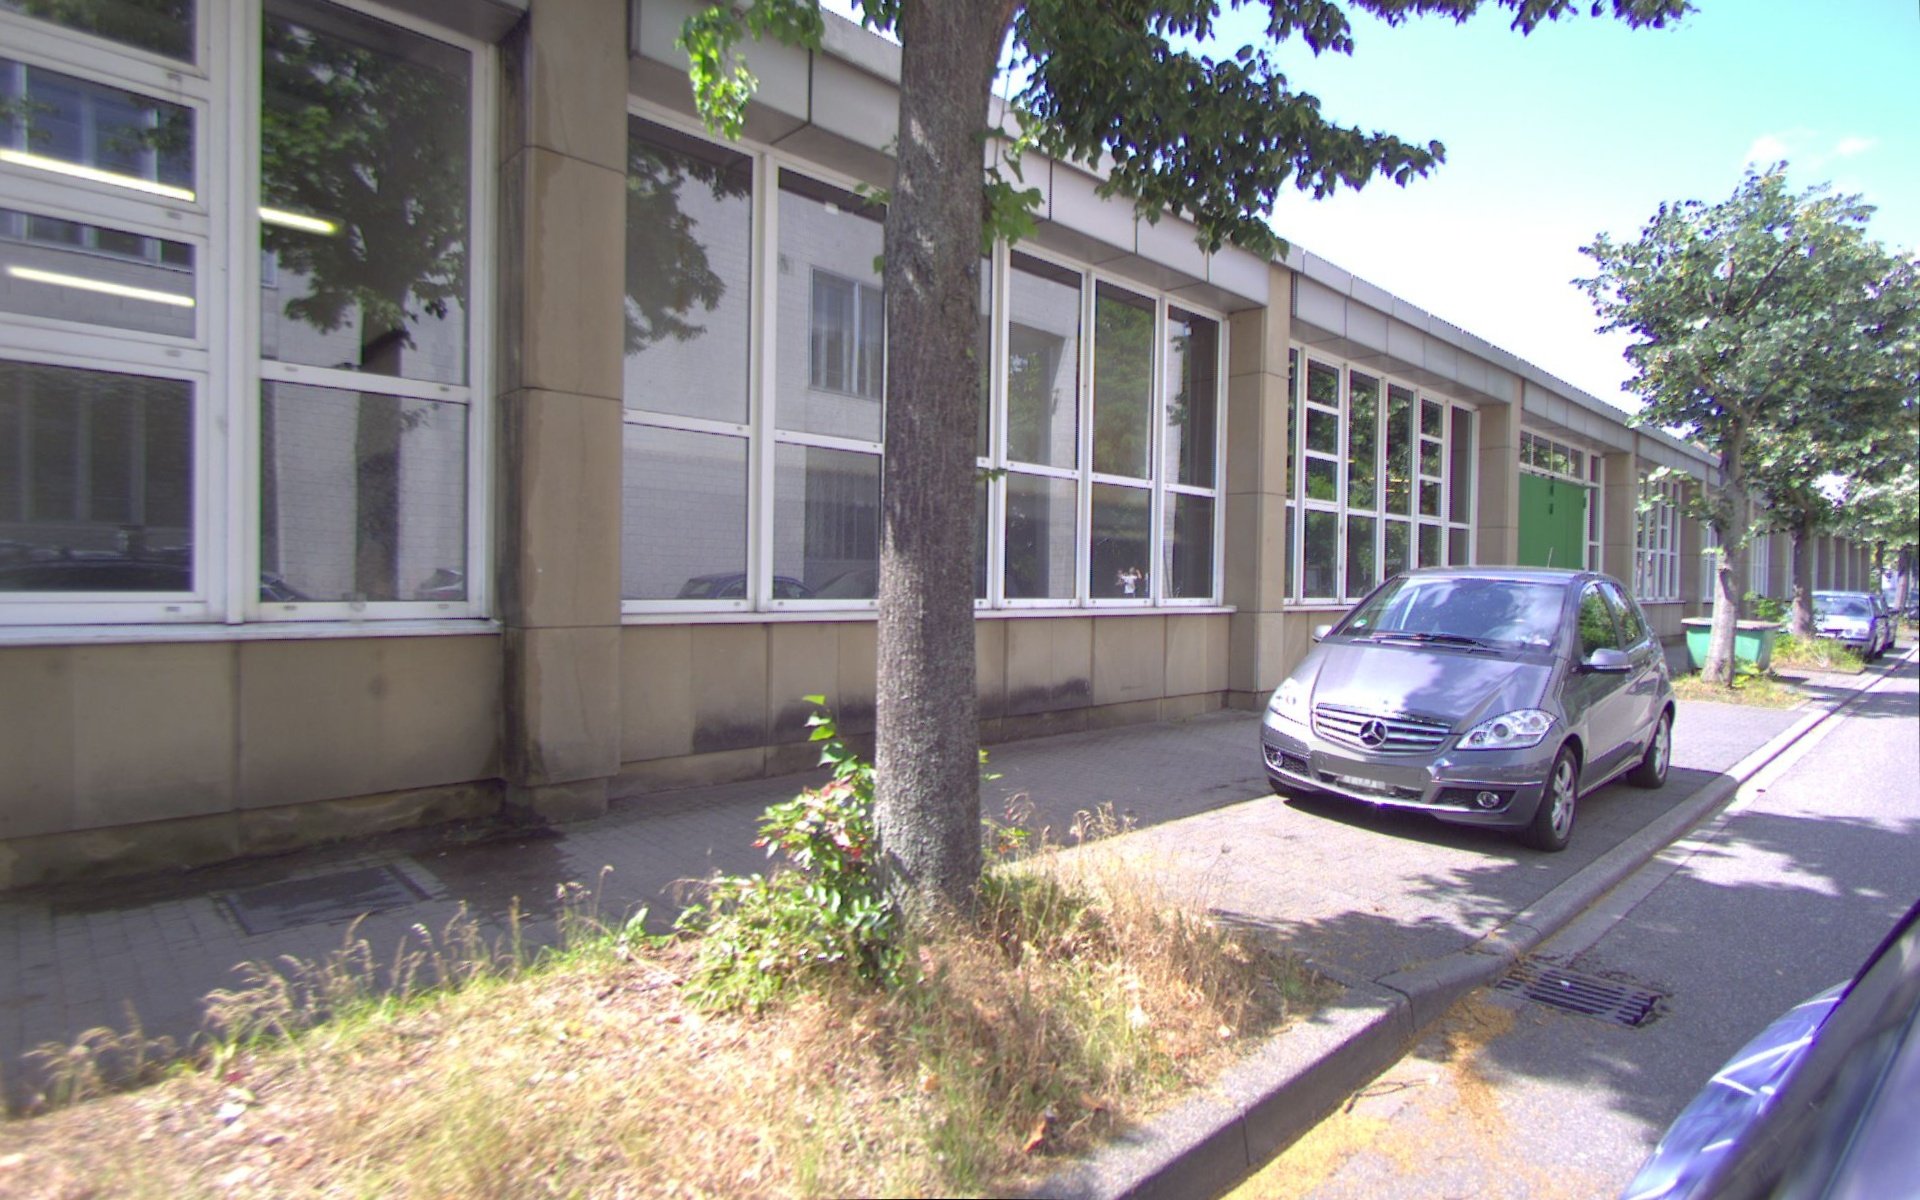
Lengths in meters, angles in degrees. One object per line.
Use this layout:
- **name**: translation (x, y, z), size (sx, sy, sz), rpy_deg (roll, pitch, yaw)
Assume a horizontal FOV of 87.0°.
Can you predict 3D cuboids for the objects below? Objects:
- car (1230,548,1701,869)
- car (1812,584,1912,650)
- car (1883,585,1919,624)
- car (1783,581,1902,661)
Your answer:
- **car**: translation (3.644, 0.496, 6.989), size (3.755, 1.587, 1.758), rpy_deg (0, 3, -45)
- **car**: translation (23.230, 0.390, 26.018), size (3.755, 1.481, 1.619), rpy_deg (0, 4, -45)
- **car**: translation (39.479, 0.166, 41.885), size (3.754, 1.511, 1.646), rpy_deg (-1, 3, -45)
- **car**: translation (19.424, 0.392, 22.228), size (3.755, 1.530, 1.619), rpy_deg (0, 4, -45)
